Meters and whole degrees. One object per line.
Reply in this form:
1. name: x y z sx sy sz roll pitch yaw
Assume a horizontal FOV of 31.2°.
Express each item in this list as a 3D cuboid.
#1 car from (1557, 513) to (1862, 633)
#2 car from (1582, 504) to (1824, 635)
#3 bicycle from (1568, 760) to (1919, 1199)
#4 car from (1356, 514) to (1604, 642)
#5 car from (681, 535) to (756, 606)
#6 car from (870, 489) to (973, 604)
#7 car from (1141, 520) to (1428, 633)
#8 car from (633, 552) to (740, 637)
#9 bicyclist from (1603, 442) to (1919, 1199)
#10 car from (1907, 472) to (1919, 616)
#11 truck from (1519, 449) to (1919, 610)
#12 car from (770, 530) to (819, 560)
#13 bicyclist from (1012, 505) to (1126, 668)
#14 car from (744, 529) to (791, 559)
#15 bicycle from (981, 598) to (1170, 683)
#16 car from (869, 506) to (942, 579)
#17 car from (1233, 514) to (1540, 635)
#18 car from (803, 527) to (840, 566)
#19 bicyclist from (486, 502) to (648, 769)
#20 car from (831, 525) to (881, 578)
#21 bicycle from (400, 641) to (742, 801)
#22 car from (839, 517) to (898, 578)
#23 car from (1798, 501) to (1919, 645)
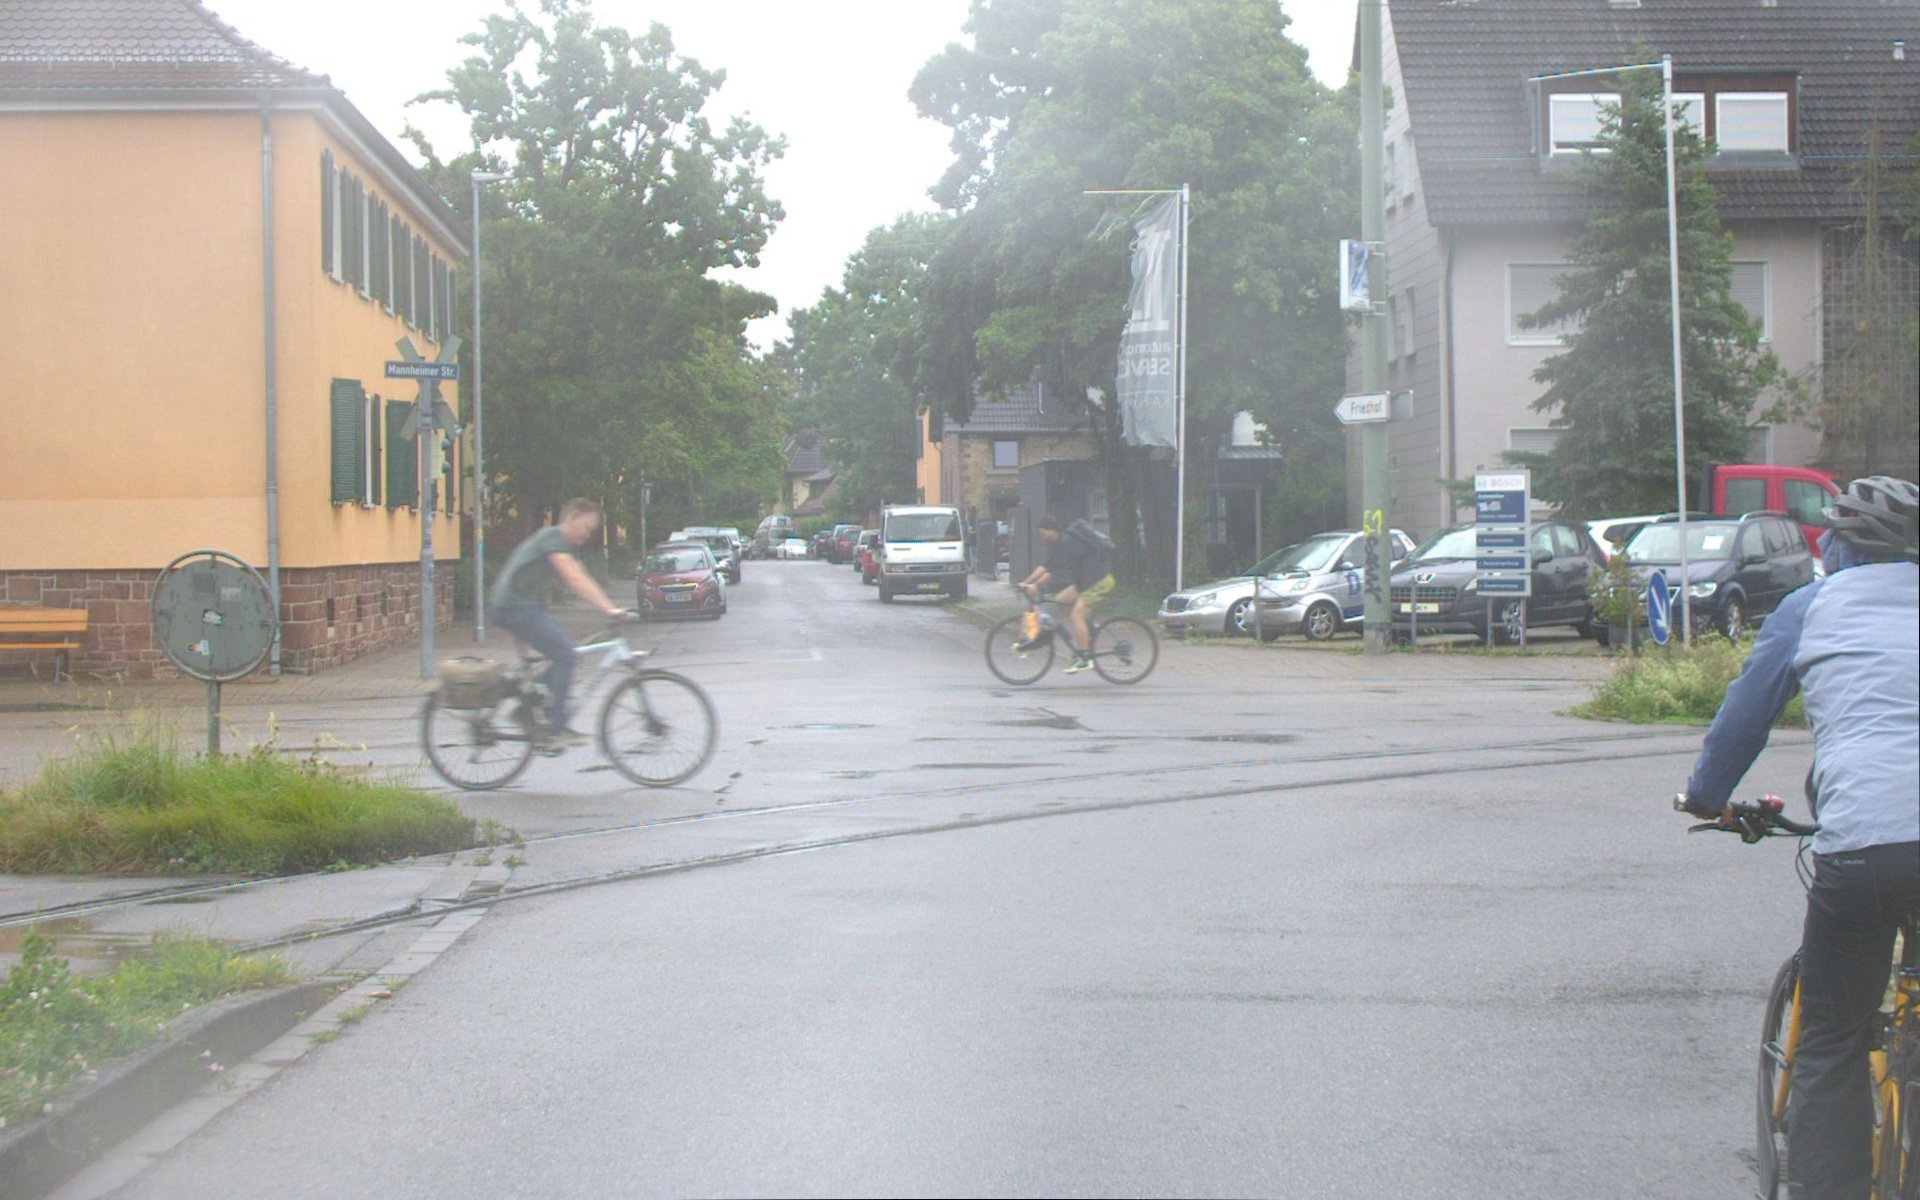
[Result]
1. car: 10.557 -0.365 48.357 3.969 1.592 1.998 -1 0 19
2. car: 9.481 -0.409 43.672 1.805 1.573 3.865 -1 1 32
3. bicycle: 1.671 0.902 6.376 0.752 1.069 1.927 -2 1 1
4. car: 6.819 -0.311 44.842 1.805 1.573 3.865 -1 1 32
5. car: -7.120 -0.894 101.779 1.993 2.007 4.000 1 1 -1
6. car: -0.932 -1.265 80.375 2.153 2.564 4.134 1 1 -3
7. car: 4.859 -0.371 51.557 3.858 1.573 1.808 -2 1 -20
8. car: -5.388 -0.120 68.153 1.993 1.612 4.001 -1 1 -3
9. bicyclist: 1.655 0.461 6.347 0.751 1.480 0.846 -2 1 1
10. car: 15.590 -0.803 47.543 4.432 2.007 2.000 -1 0 1
11. truck: 11.579 -1.025 51.394 6.088 2.264 1.998 -1 0 19
12. car: -9.701 -3.219 200.954 1.828 1.691 4.033 1 1 -18
13. bicyclist: 1.087 -0.145 34.516 1.039 1.592 0.950 -1 1 -2
14. car: -11.589 -3.364 206.363 1.828 1.691 4.033 1 1 -18
15. bicycle: 1.150 0.402 34.527 1.813 0.784 0.942 -1 1 -2
16. car: -1.564 -1.645 97.970 1.993 2.007 4.000 1 1 -1
17. car: 5.977 -0.367 48.251 3.858 1.573 1.808 -2 1 -20
18. car: -7.356 -2.834 182.690 1.828 2.007 4.001 1 1 -3
19. bicyclist: -2.328 0.207 20.460 0.911 1.553 0.834 0 0 -3
20. car: -4.144 -1.939 136.843 1.828 2.007 4.001 1 1 -3
21. bicycle: -2.291 0.712 20.449 1.979 0.909 0.824 0 0 -3
22. car: -3.127 -1.798 116.836 1.828 2.007 4.001 1 1 -3
23. car: 12.061 -0.363 42.846 1.997 1.711 3.993 -1 1 32
